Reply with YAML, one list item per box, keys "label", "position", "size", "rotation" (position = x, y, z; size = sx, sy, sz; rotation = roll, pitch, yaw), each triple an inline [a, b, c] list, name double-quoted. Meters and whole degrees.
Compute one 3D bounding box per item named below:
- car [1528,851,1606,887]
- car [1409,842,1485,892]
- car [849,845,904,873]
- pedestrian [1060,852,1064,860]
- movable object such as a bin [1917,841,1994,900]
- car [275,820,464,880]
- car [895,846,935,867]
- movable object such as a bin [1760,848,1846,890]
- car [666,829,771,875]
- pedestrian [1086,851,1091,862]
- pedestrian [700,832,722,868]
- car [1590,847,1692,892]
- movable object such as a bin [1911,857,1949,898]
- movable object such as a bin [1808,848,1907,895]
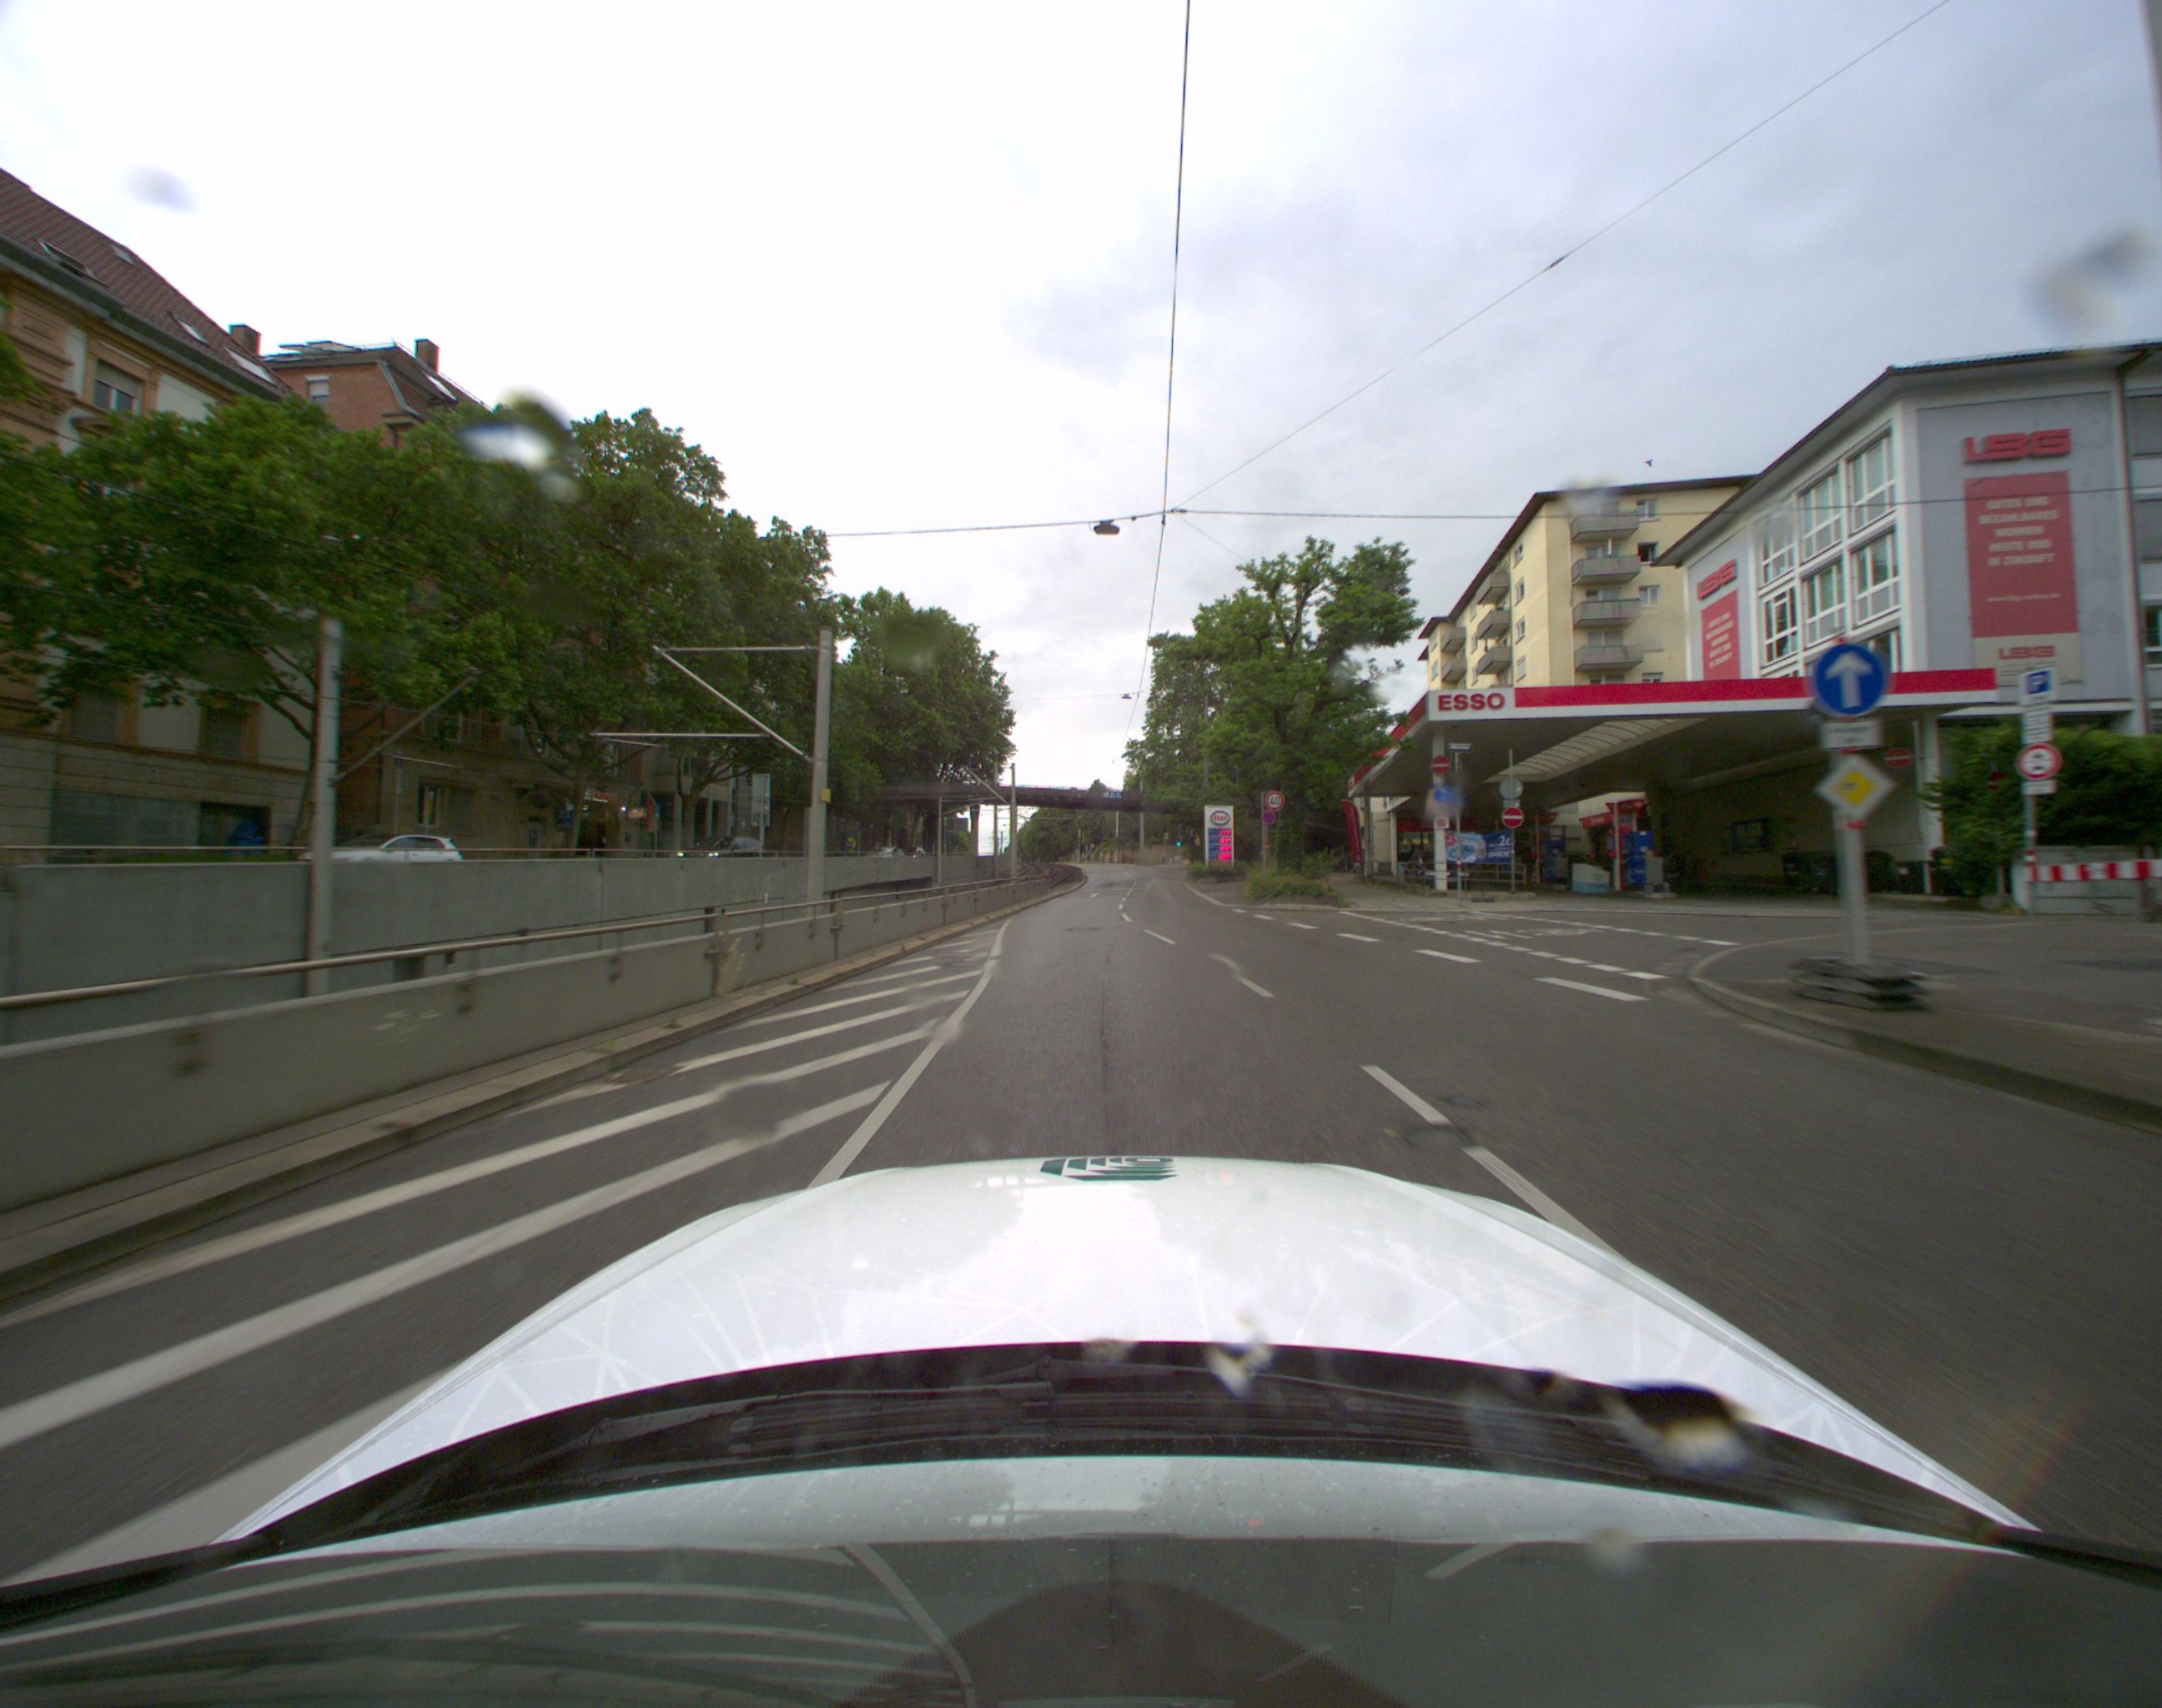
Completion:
- label: "car"
  position: [22.435, 0.721, 37.791]
  size: [1.782, 1.510, 4.244]
  rotation: [2, -1, 12]
- label: "car"
  position: [12.868, 0.468, 28.837]
  size: [1.760, 1.623, 3.880]
  rotation: [-2, -1, 14]
- label: "car"
  position: [-11.512, 0.272, 46.020]
  size: [1.786, 1.510, 4.005]
  rotation: [2, 0, 4]
- label: "pedestrian"
  position: [-4.145, 0.459, 175.517]
  size: [0.719, 1.687, 0.727]
  rotation: [2, -1, -8]
- label: "movable object such as a bin"
  position: [23.922, 0.448, 22.309]
  size: [0.759, 1.565, 1.364]
  rotation: [0, 0, 11]
- label: "car"
  position: [-21.244, -0.101, 24.575]
  size: [1.785, 1.611, 4.118]
  rotation: [2, 0, 6]
- label: "car"
  position: [-12.926, 0.199, 63.684]
  size: [1.785, 1.510, 4.115]
  rotation: [2, 0, 6]
- label: "movable object such as a bin"
  position: [25.623, 0.523, 28.980]
  size: [1.155, 1.425, 2.515]
  rotation: [0, 0, 11]
- label: "car"
  position: [-16.081, -0.068, 36.475]
  size: [1.946, 1.852, 4.978]
  rotation: [2, 0, 7]
- label: "pedestrian"
  position: [1.345, 0.426, 143.414]
  size: [0.719, 1.850, 0.781]
  rotation: [2, -1, -8]
- label: "pedestrian"
  position: [-21.293, -0.208, 46.827]
  size: [0.665, 2.014, 0.937]
  rotation: [2, -1, 8]
- label: "car"
  position: [21.177, 0.601, 30.989]
  size: [1.782, 1.510, 4.012]
  rotation: [2, -1, 12]
- label: "movable object such as a bin"
  position: [24.270, 0.667, 23.281]
  size: [0.450, 1.141, 0.662]
  rotation: [0, -1, 11]
- label: "movable object such as a bin"
  position: [25.086, 0.546, 26.402]
  size: [1.155, 1.425, 2.515]
  rotation: [0, 0, 11]
